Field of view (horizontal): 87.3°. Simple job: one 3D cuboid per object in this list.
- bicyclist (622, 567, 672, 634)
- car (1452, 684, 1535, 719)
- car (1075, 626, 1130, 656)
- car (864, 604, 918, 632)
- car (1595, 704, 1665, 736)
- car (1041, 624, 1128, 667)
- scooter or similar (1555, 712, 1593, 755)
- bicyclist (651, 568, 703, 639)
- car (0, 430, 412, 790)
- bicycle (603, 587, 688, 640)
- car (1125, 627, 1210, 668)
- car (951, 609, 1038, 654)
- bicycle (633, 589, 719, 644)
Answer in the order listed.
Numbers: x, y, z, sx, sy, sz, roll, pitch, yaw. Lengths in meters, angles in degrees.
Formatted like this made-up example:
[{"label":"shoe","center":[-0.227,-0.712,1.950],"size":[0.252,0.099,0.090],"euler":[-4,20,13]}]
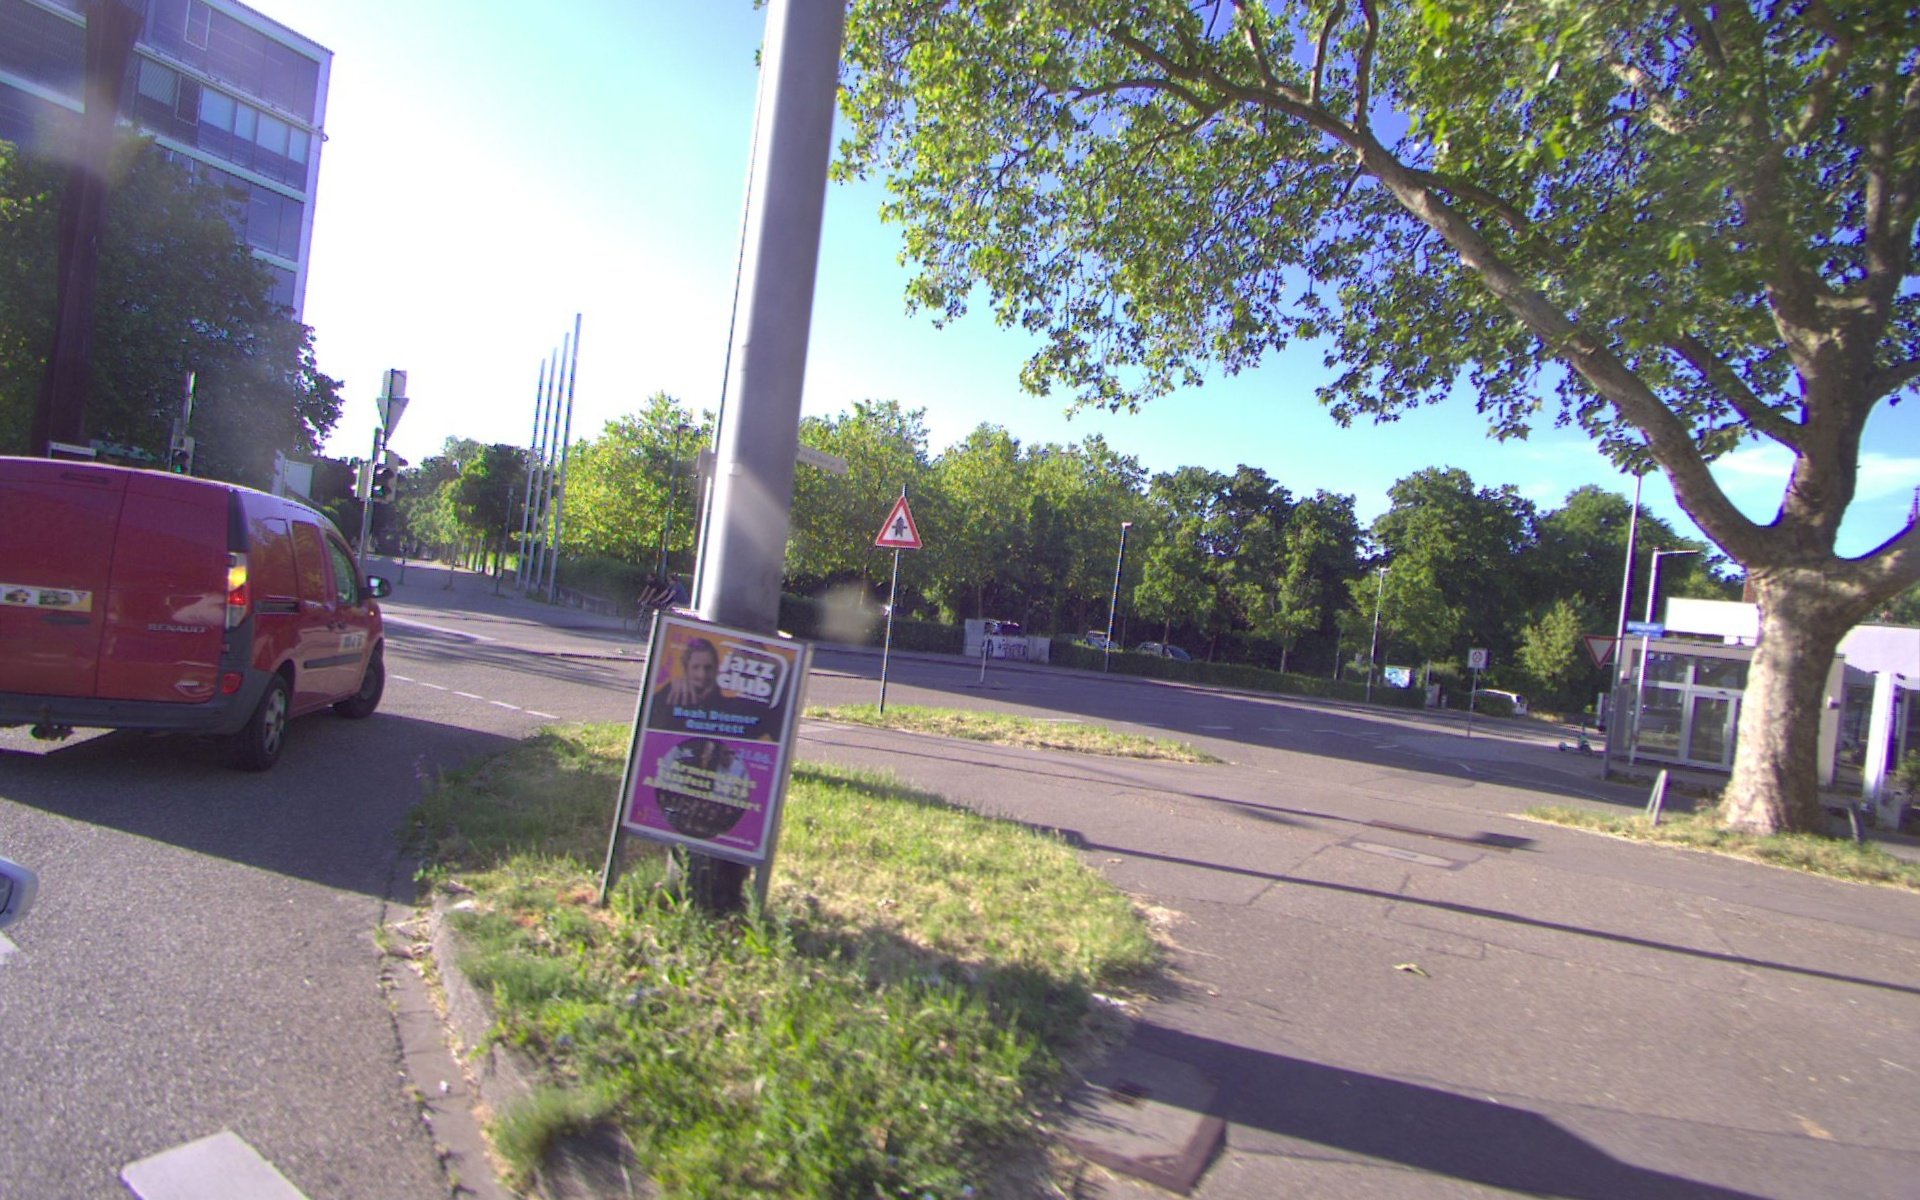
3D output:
[{"label":"bicyclist","center":[-8.507,0.024,27.377],"size":[0.872,1.674,0.783],"euler":[7,1,-44]},{"label":"car","center":[33.195,6.298,62.687],"size":[1.982,1.482,3.982],"euler":[9,-2,-34]},{"label":"car","center":[10.804,3.094,76.132],"size":[3.984,1.480,1.975],"euler":[14,-4,-44]},{"label":"car","center":[-4.987,1.264,72.431],"size":[1.983,1.482,3.963],"euler":[9,-2,-34]},{"label":"car","center":[41.061,7.354,61.616],"size":[4.430,1.483,1.982],"euler":[8,-1,-34]},{"label":"car","center":[5.901,2.142,48.198],"size":[1.980,1.482,3.968],"euler":[9,-2,-31]},{"label":"scooter or similar","center":[18.997,4.131,31.115],"size":[0.258,1.177,1.010],"euler":[7,0,-12]},{"label":"bicyclist","center":[-7.550,0.086,26.814],"size":[0.871,1.759,0.822],"euler":[7,1,-43]},{"label":"car","center":[-5.568,0.051,7.438],"size":[1.829,1.835,4.098],"euler":[8,-2,-20]},{"label":"bicycle","center":[-8.547,0.384,27.387],"size":[0.544,1.218,2.092],"euler":[8,0,44]},{"label":"car","center":[10.353,2.368,50.442],"size":[1.978,1.482,3.972],"euler":[9,-1,-28]},{"label":"car","center":[1.510,1.395,45.362],"size":[1.980,1.482,3.968],"euler":[9,-2,-31]},{"label":"bicycle","center":[-7.546,0.455,26.808],"size":[2.091,1.218,0.544],"euler":[8,0,-43]}]
